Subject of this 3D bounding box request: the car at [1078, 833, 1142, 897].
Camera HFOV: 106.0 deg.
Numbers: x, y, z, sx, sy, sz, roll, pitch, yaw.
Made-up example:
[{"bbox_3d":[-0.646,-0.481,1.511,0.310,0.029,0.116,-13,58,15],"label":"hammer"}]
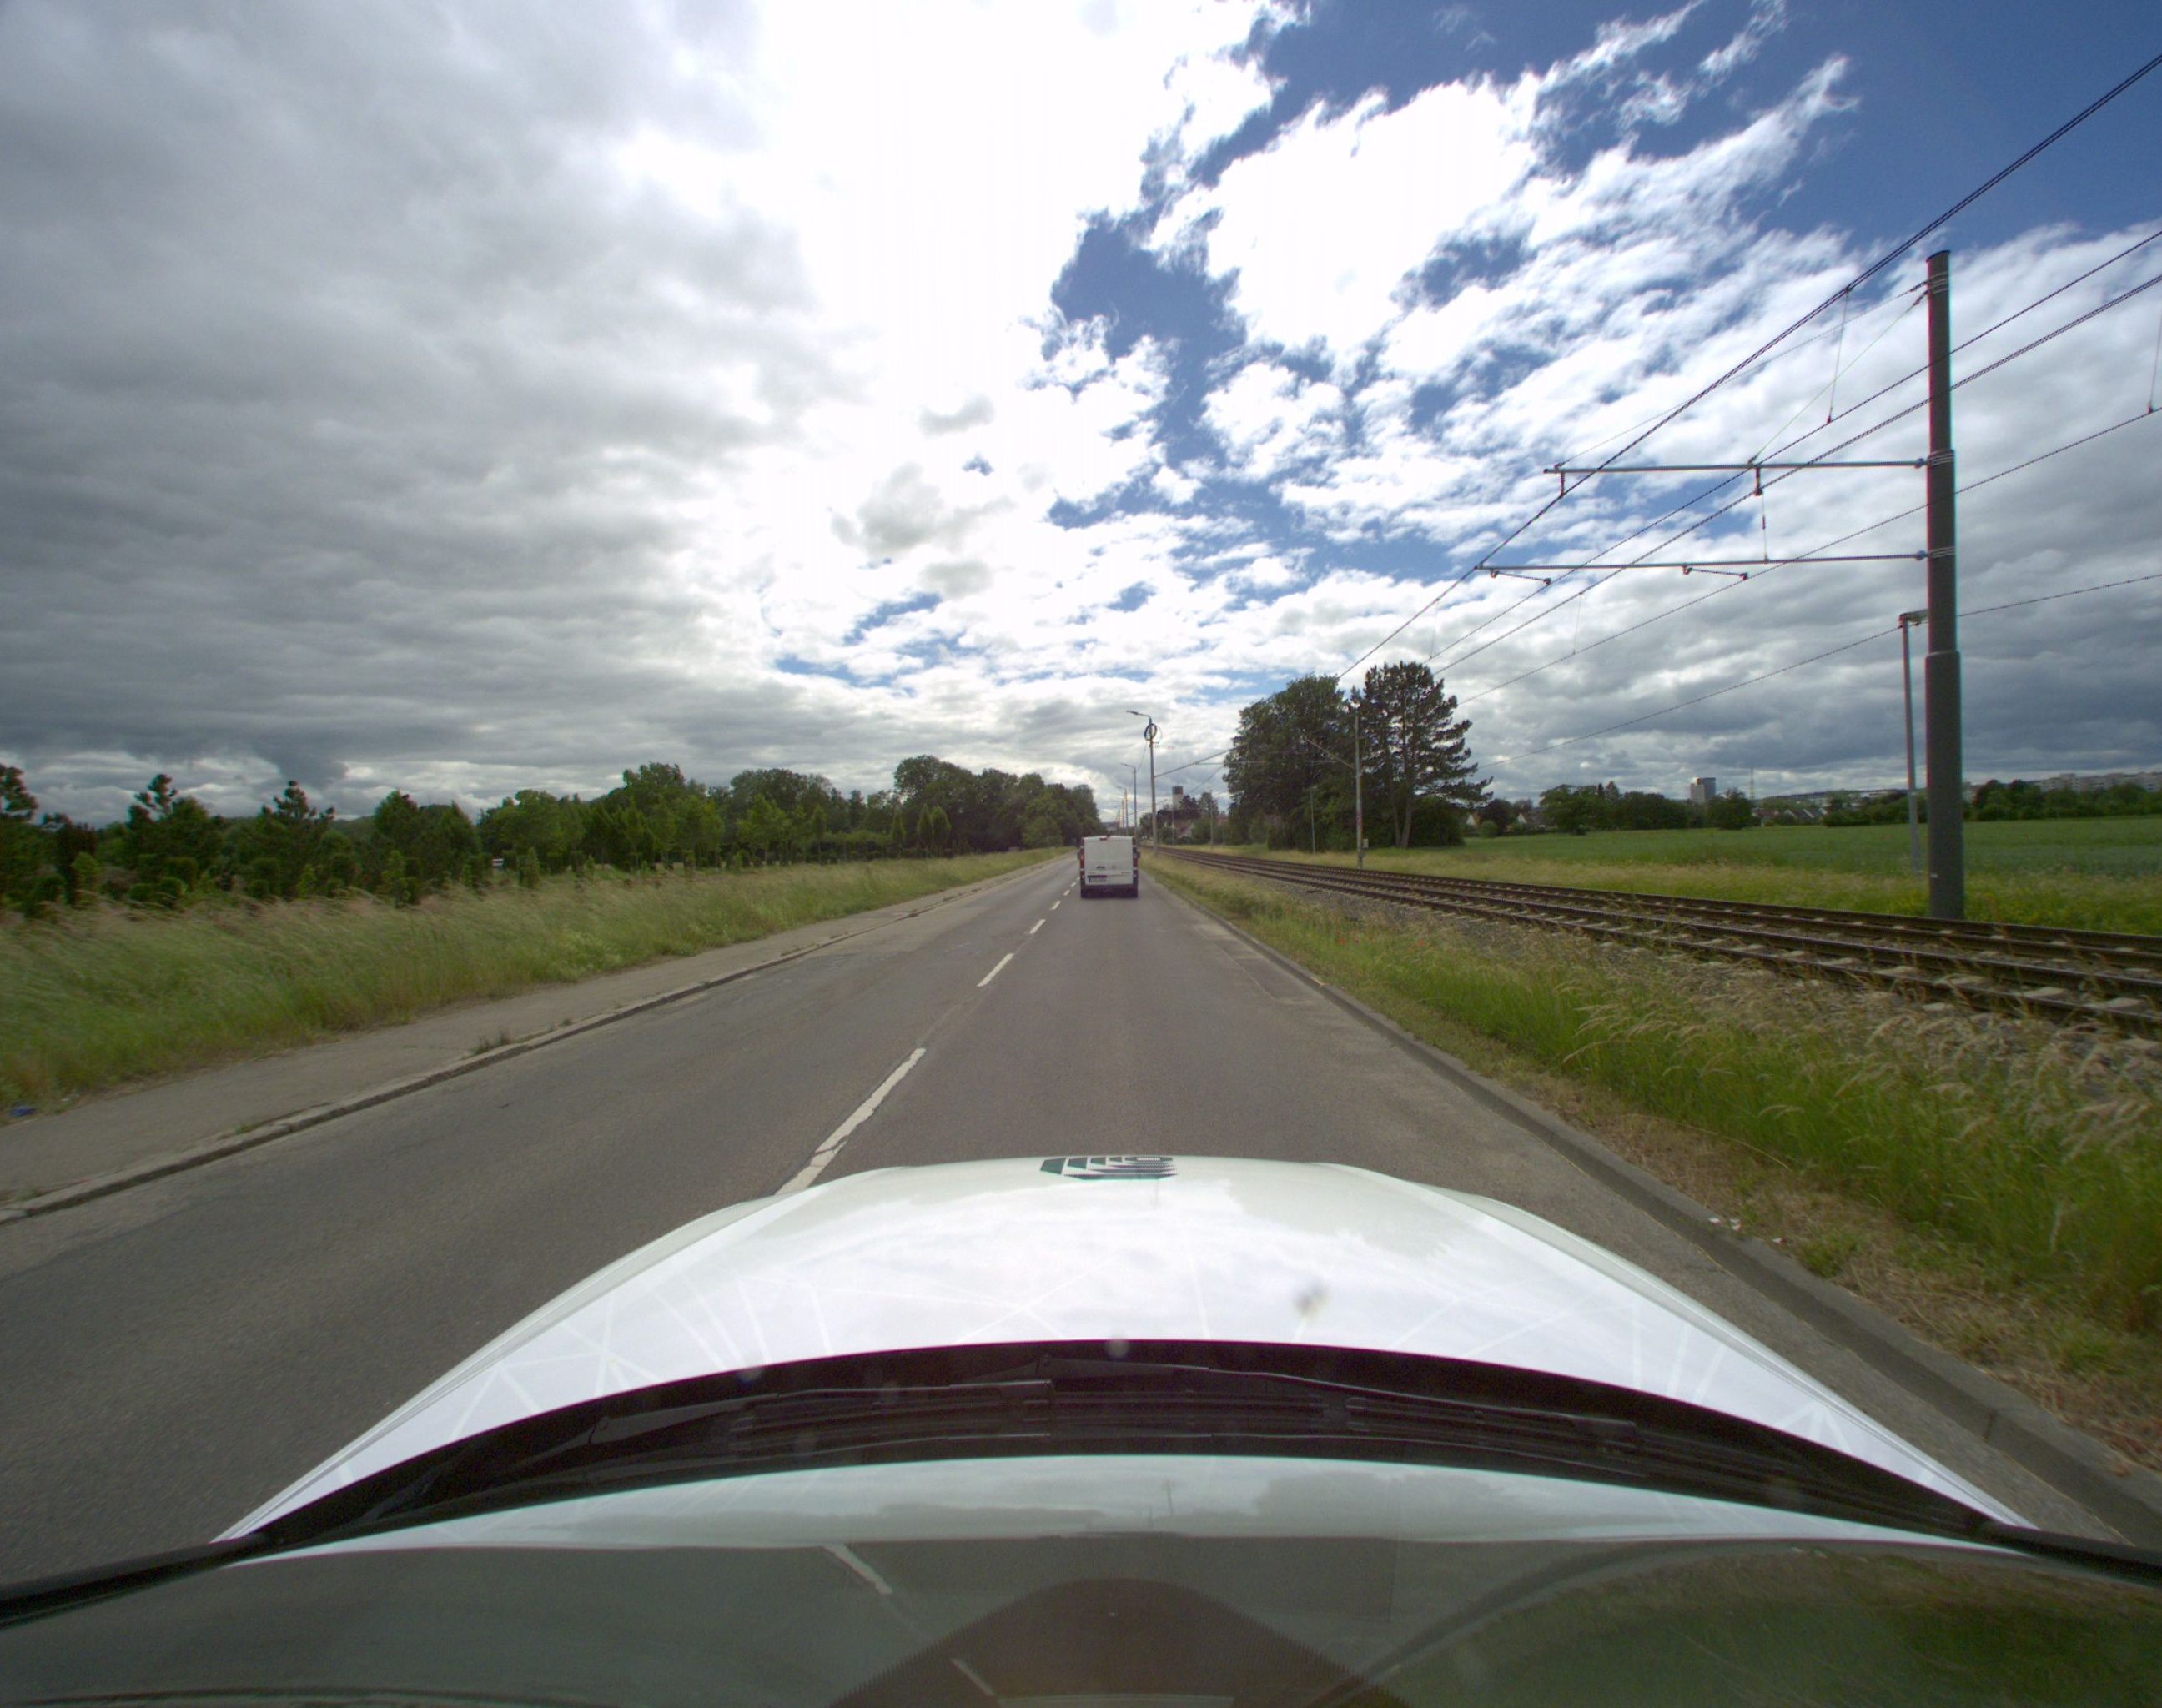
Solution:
[{"bbox_3d":[0.936,0.335,27.246,1.987,1.957,4.001,-1,0,1],"label":"car"}]
